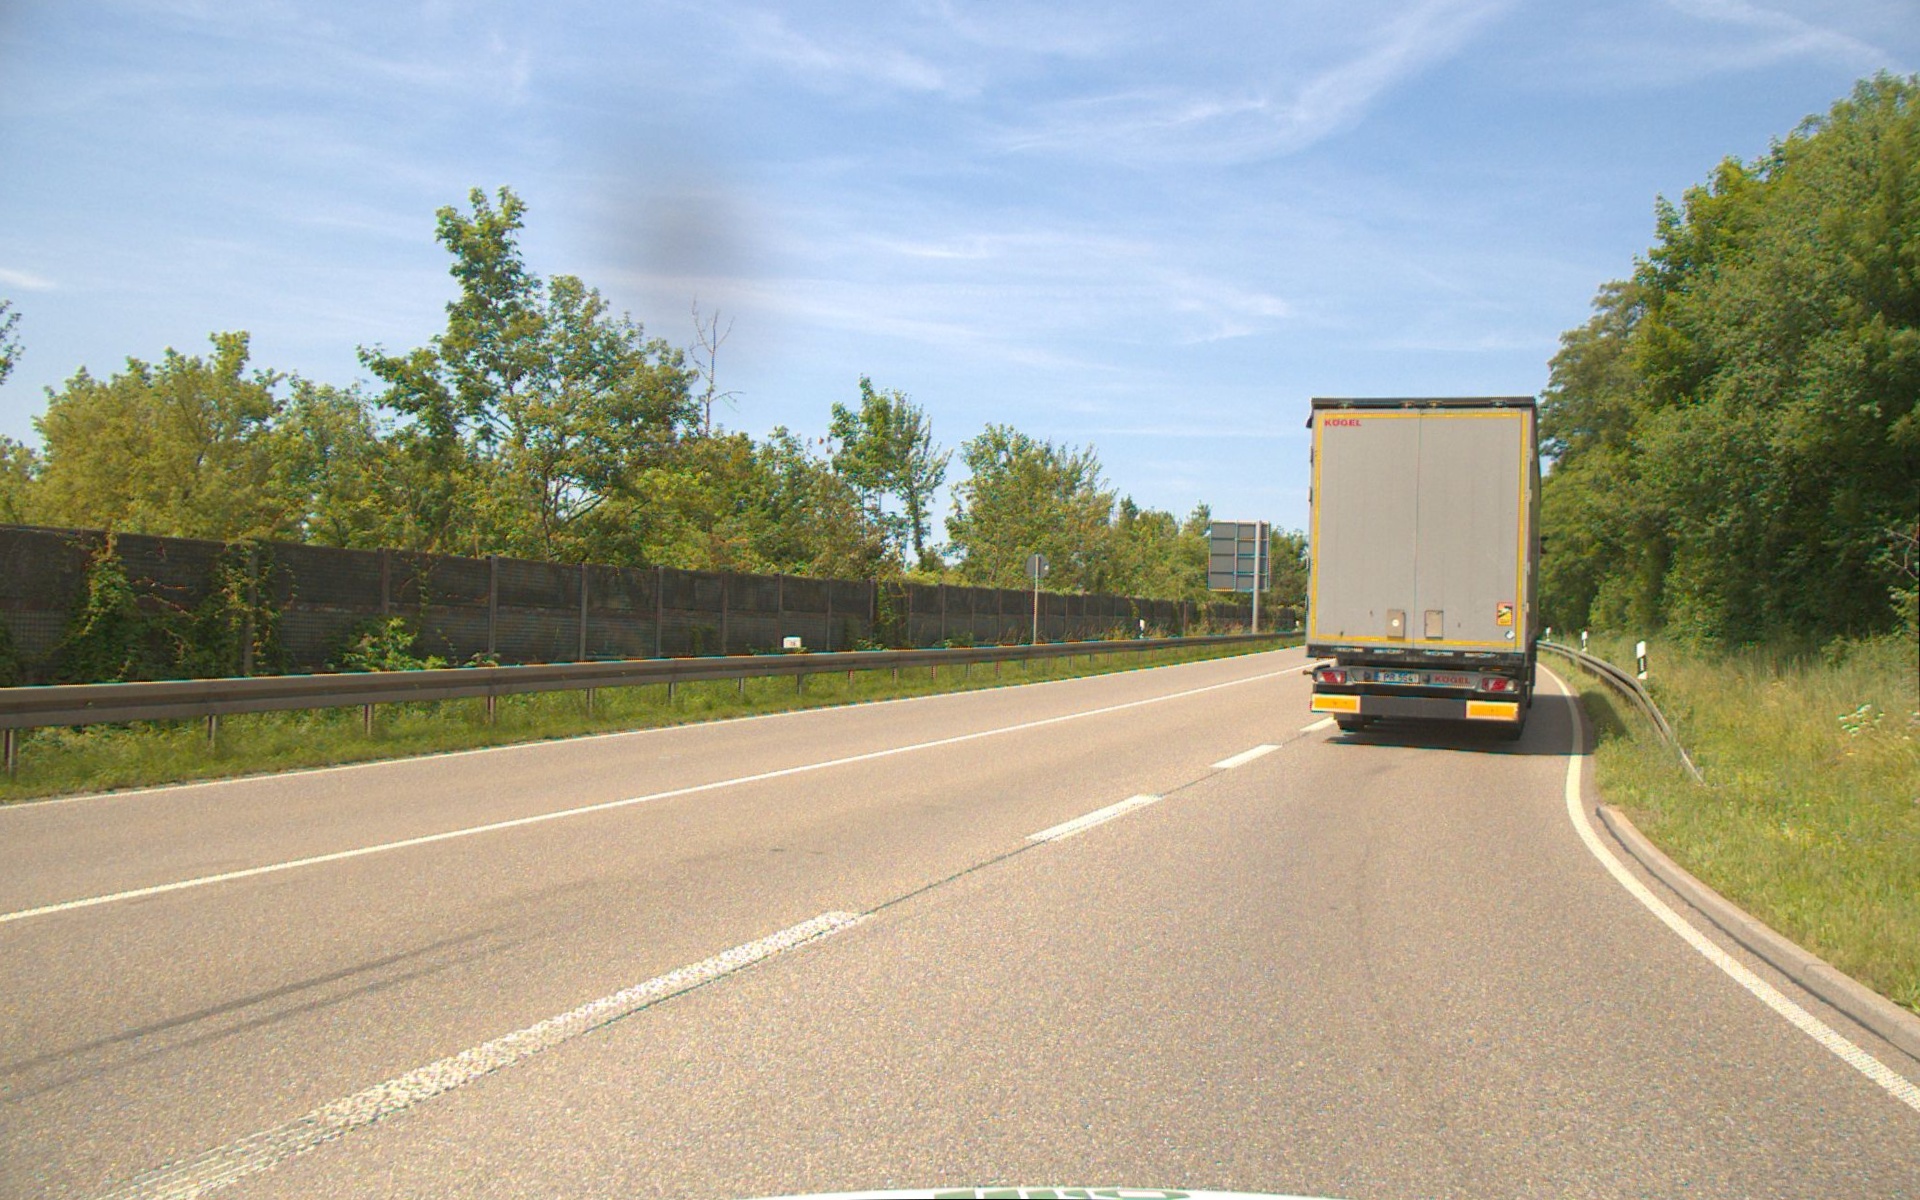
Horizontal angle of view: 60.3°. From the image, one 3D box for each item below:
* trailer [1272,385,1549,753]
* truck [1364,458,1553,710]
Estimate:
[{"bbox_3d":[7.359,-0.269,25.226,2.964,4.105,13.353,1,-1,20],"label":"trailer"},{"bbox_3d":[9.831,-0.253,32.093,3.087,4.298,7.123,1,-1,20],"label":"truck"}]
